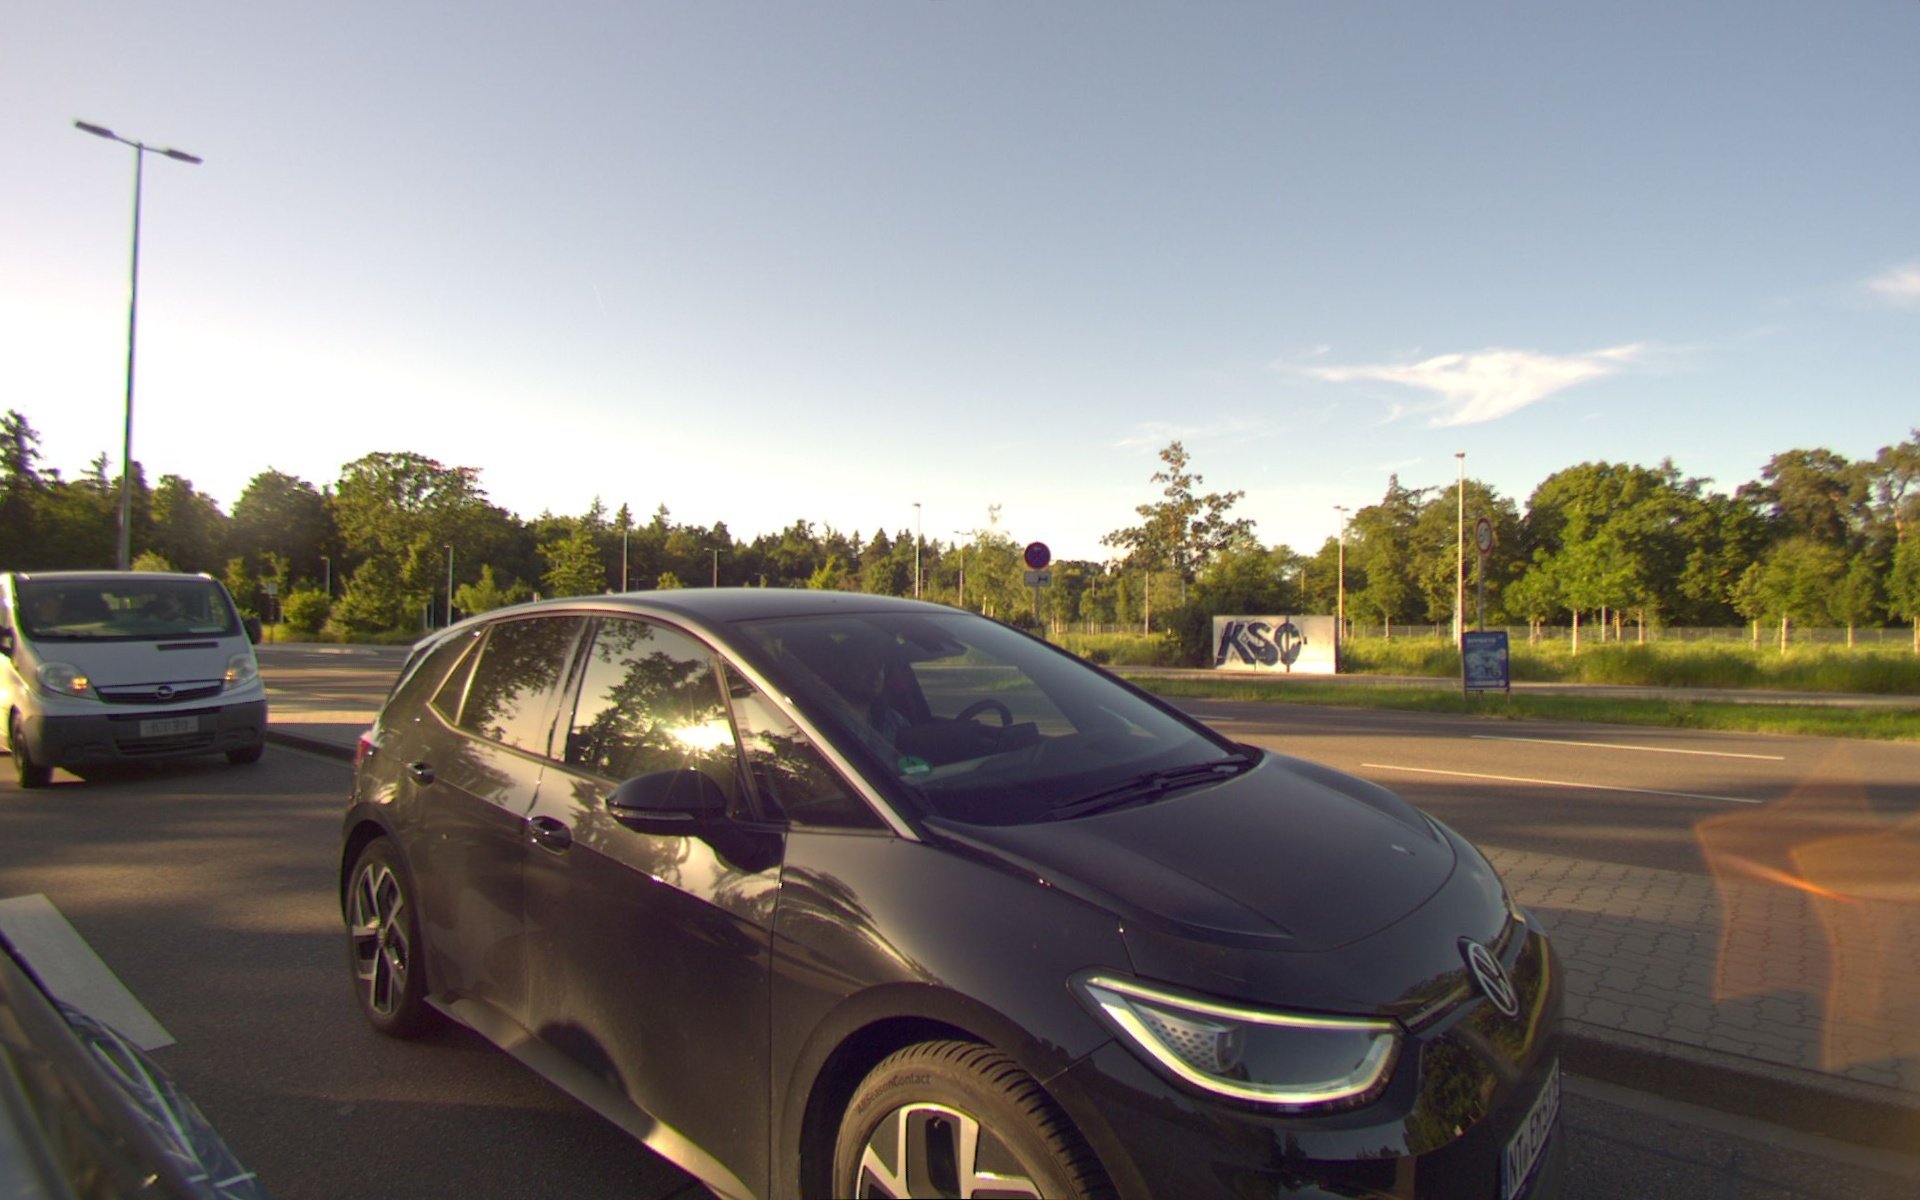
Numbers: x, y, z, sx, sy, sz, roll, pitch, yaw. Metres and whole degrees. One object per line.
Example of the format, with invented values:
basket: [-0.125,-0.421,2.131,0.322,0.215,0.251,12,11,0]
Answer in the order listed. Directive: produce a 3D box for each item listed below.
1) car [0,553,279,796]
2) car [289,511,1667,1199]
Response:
car: [-9.035,0.662,10.581,5.044,1.977,1.859,-2,-1,40]
car: [-0.338,0.687,3.134,3.997,1.548,1.859,-1,0,40]
